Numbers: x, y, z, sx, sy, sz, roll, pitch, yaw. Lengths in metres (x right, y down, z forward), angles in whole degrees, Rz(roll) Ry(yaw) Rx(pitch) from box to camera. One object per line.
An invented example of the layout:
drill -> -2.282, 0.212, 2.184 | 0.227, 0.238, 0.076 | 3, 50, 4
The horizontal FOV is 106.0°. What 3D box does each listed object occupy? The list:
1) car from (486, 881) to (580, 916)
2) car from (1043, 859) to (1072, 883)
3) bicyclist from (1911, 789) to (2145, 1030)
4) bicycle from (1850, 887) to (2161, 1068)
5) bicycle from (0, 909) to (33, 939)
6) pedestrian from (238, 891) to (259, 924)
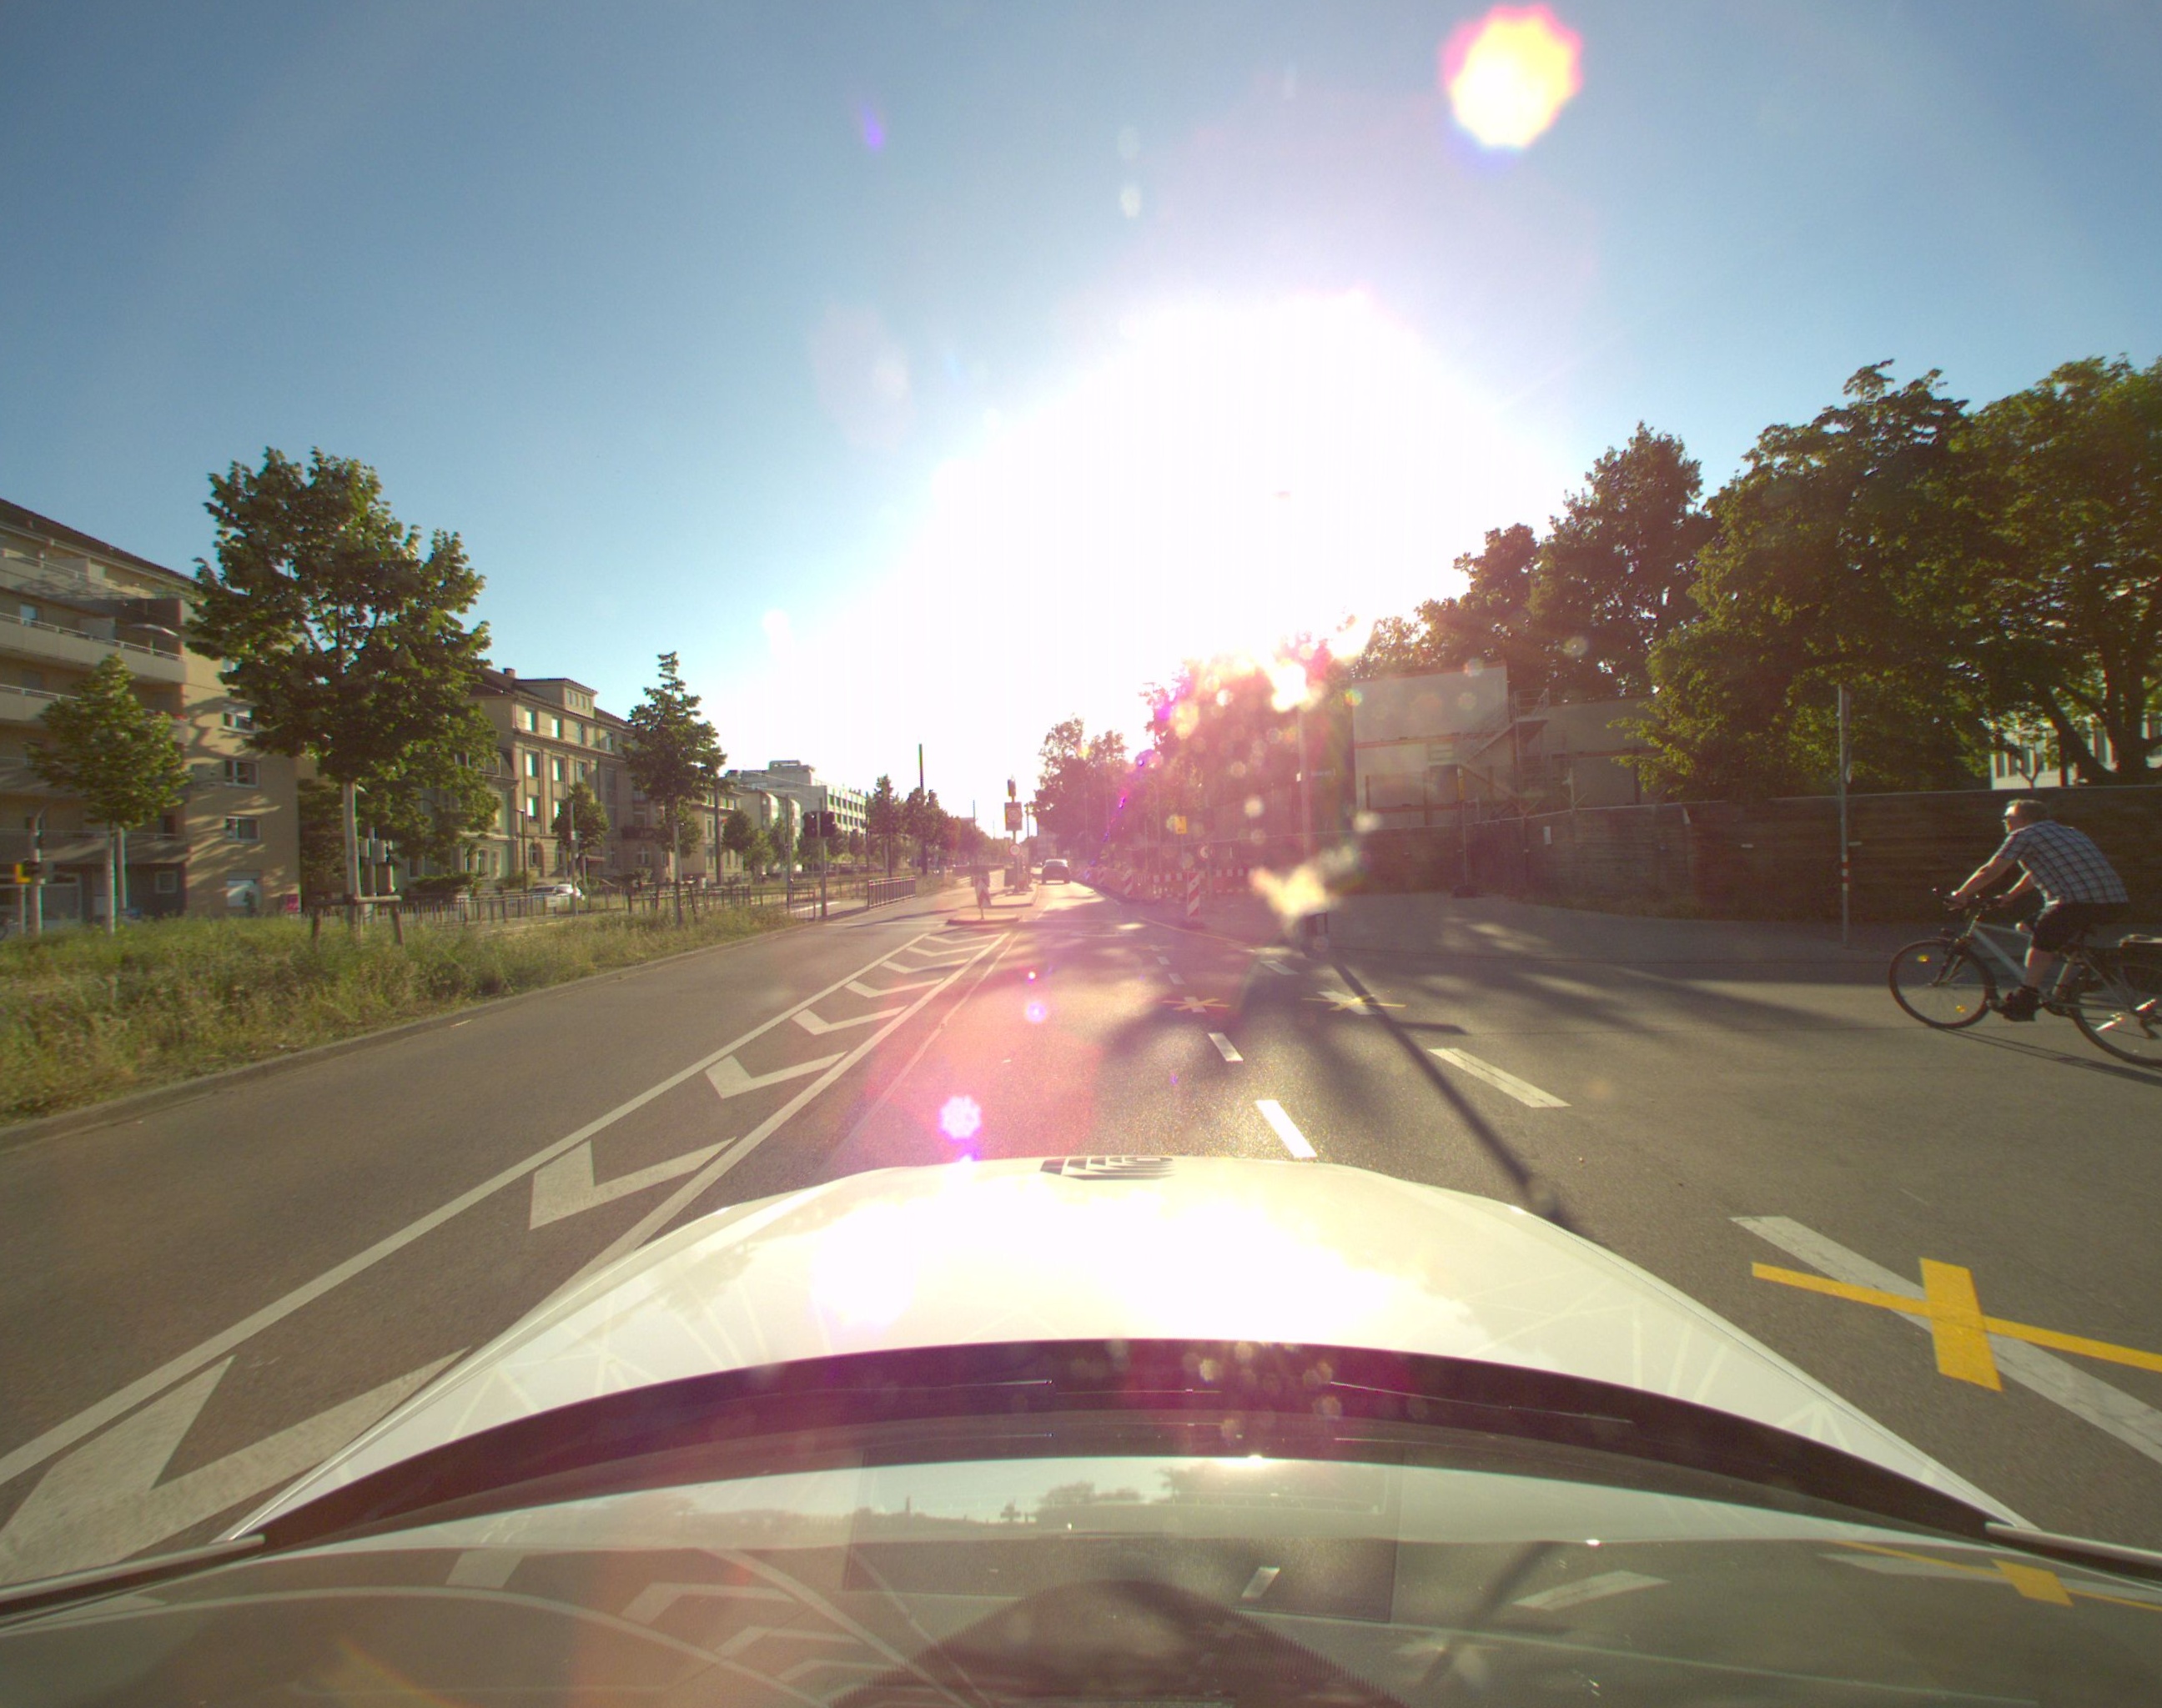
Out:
car -> -27.337, 2.175, 40.814 | 1.772, 1.463, 4.656 | -2, -1, -4
car -> -1.753, 1.226, 58.588 | 2.001, 1.659, 3.995 | 0, -1, -3
bicyclist -> 6.892, 0.378, 5.981 | 0.582, 1.614, 0.902 | -2, -1, -3
bicycle -> 6.897, 0.813, 6.071 | 0.426, 1.061, 1.909 | -2, -1, -2
bicycle -> -43.132, 2.823, 32.037 | 0.529, 1.137, 2.583 | -2, 0, -3
pedestrian -> -39.849, 2.554, 38.991 | 0.518, 1.555, 0.448 | -2, -1, -4
